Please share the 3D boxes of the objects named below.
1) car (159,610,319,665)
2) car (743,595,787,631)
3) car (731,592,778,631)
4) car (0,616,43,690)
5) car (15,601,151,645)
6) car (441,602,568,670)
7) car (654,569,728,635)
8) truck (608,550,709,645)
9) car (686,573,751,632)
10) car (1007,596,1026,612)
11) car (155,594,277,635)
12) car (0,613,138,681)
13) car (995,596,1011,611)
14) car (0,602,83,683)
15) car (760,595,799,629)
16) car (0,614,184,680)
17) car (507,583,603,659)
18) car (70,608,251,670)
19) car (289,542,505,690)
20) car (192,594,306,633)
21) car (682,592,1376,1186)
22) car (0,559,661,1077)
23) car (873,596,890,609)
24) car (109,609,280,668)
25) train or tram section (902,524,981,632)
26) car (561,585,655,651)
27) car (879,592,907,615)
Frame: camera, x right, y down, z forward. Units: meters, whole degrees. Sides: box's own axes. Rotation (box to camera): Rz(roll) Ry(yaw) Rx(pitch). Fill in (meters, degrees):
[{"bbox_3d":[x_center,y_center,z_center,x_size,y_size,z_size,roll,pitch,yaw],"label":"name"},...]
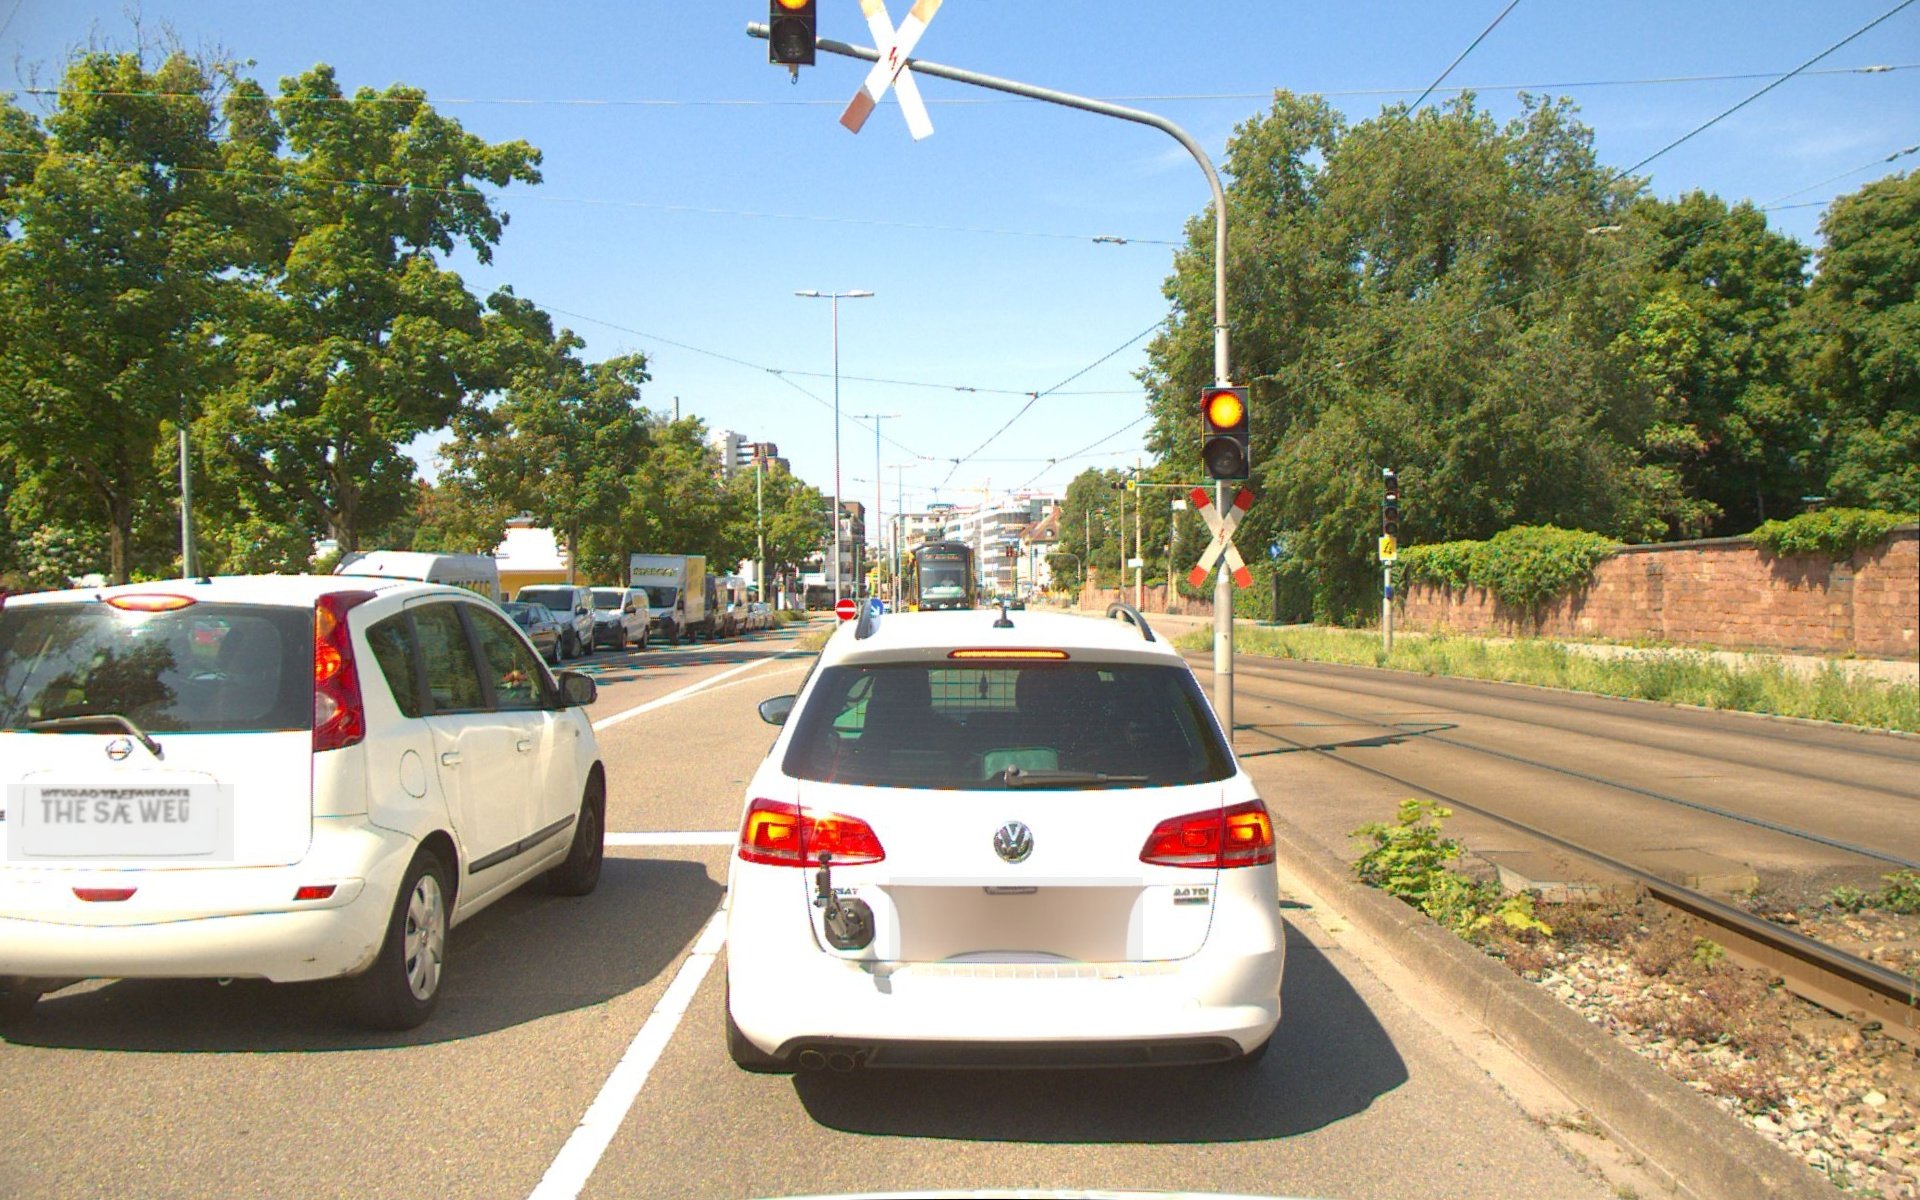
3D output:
[{"bbox_3d":[-21.279,1.099,48.934,3.909,1.440,1.728,-2,0,-5],"label":"car"},{"bbox_3d":[-10.764,0.683,91.513,1.826,1.900,5.412,1,0,-1],"label":"car"},{"bbox_3d":[-10.494,0.553,84.703,1.826,1.900,5.412,1,0,-1],"label":"car"},{"bbox_3d":[-20.735,1.120,32.929,3.909,1.440,1.728,-2,0,-5],"label":"car"},{"bbox_3d":[-37.815,0.979,71.381,4.698,1.819,2.062,1,0,-5],"label":"car"},{"bbox_3d":[-10.536,0.799,38.569,1.826,1.440,4.278,1,0,-1],"label":"car"},{"bbox_3d":[-11.012,0.059,68.152,2.079,2.560,5.733,1,0,0],"label":"car"},{"bbox_3d":[-10.858,-0.115,60.155,2.371,3.205,6.996,1,0,0],"label":"truck"},{"bbox_3d":[-10.990,0.093,75.588,2.079,2.560,5.733,1,0,0],"label":"car"},{"bbox_3d":[6.702,0.477,196.476,1.826,1.900,5.060,1,0,-2],"label":"car"},{"bbox_3d":[-34.383,0.663,76.546,4.698,1.819,2.062,1,0,-5],"label":"car"},{"bbox_3d":[-21.619,1.113,38.639,3.909,1.440,1.728,-2,0,-5],"label":"car"},{"bbox_3d":[5.469,0.437,210.866,1.826,1.900,5.060,1,0,-2],"label":"car"},{"bbox_3d":[-21.079,0.960,35.123,3.909,1.638,1.728,-2,0,-5],"label":"car"},{"bbox_3d":[-10.711,0.704,98.430,1.826,1.900,5.412,1,0,-1],"label":"car"},{"bbox_3d":[-21.735,1.165,41.247,3.909,1.440,1.728,-2,0,-5],"label":"car"},{"bbox_3d":[-10.980,0.528,45.145,1.828,1.900,5.068,1,0,-6],"label":"car"},{"bbox_3d":[-21.112,1.022,43.788,3.909,1.440,1.728,-2,0,-5],"label":"car"},{"bbox_3d":[-10.748,0.273,32.134,2.079,2.560,5.817,1,0,1],"label":"car"},{"bbox_3d":[-34.900,0.673,81.304,4.698,1.819,2.062,1,0,-5],"label":"car"},{"bbox_3d":[0.150,0.716,6.180,1.726,1.455,3.999,-1,0,-1],"label":"car"},{"bbox_3d":[-2.553,0.652,7.307,1.628,1.575,4.546,0,0,0],"label":"car"},{"bbox_3d":[-9.442,0.347,199.068,1.670,1.499,4.589,-1,0,0],"label":"car"},{"bbox_3d":[-21.291,1.054,46.116,3.909,1.440,1.728,-2,0,-5],"label":"car"},{"bbox_3d":[-0.662,-0.842,67.006,2.812,3.923,12.391,-1,0,0],"label":"train or tram section"},{"bbox_3d":[-10.938,0.525,51.730,1.826,1.900,5.412,1,0,-1],"label":"car"},{"bbox_3d":[-4.525,0.229,112.406,1.670,1.499,4.589,-1,0,0],"label":"car"}]
